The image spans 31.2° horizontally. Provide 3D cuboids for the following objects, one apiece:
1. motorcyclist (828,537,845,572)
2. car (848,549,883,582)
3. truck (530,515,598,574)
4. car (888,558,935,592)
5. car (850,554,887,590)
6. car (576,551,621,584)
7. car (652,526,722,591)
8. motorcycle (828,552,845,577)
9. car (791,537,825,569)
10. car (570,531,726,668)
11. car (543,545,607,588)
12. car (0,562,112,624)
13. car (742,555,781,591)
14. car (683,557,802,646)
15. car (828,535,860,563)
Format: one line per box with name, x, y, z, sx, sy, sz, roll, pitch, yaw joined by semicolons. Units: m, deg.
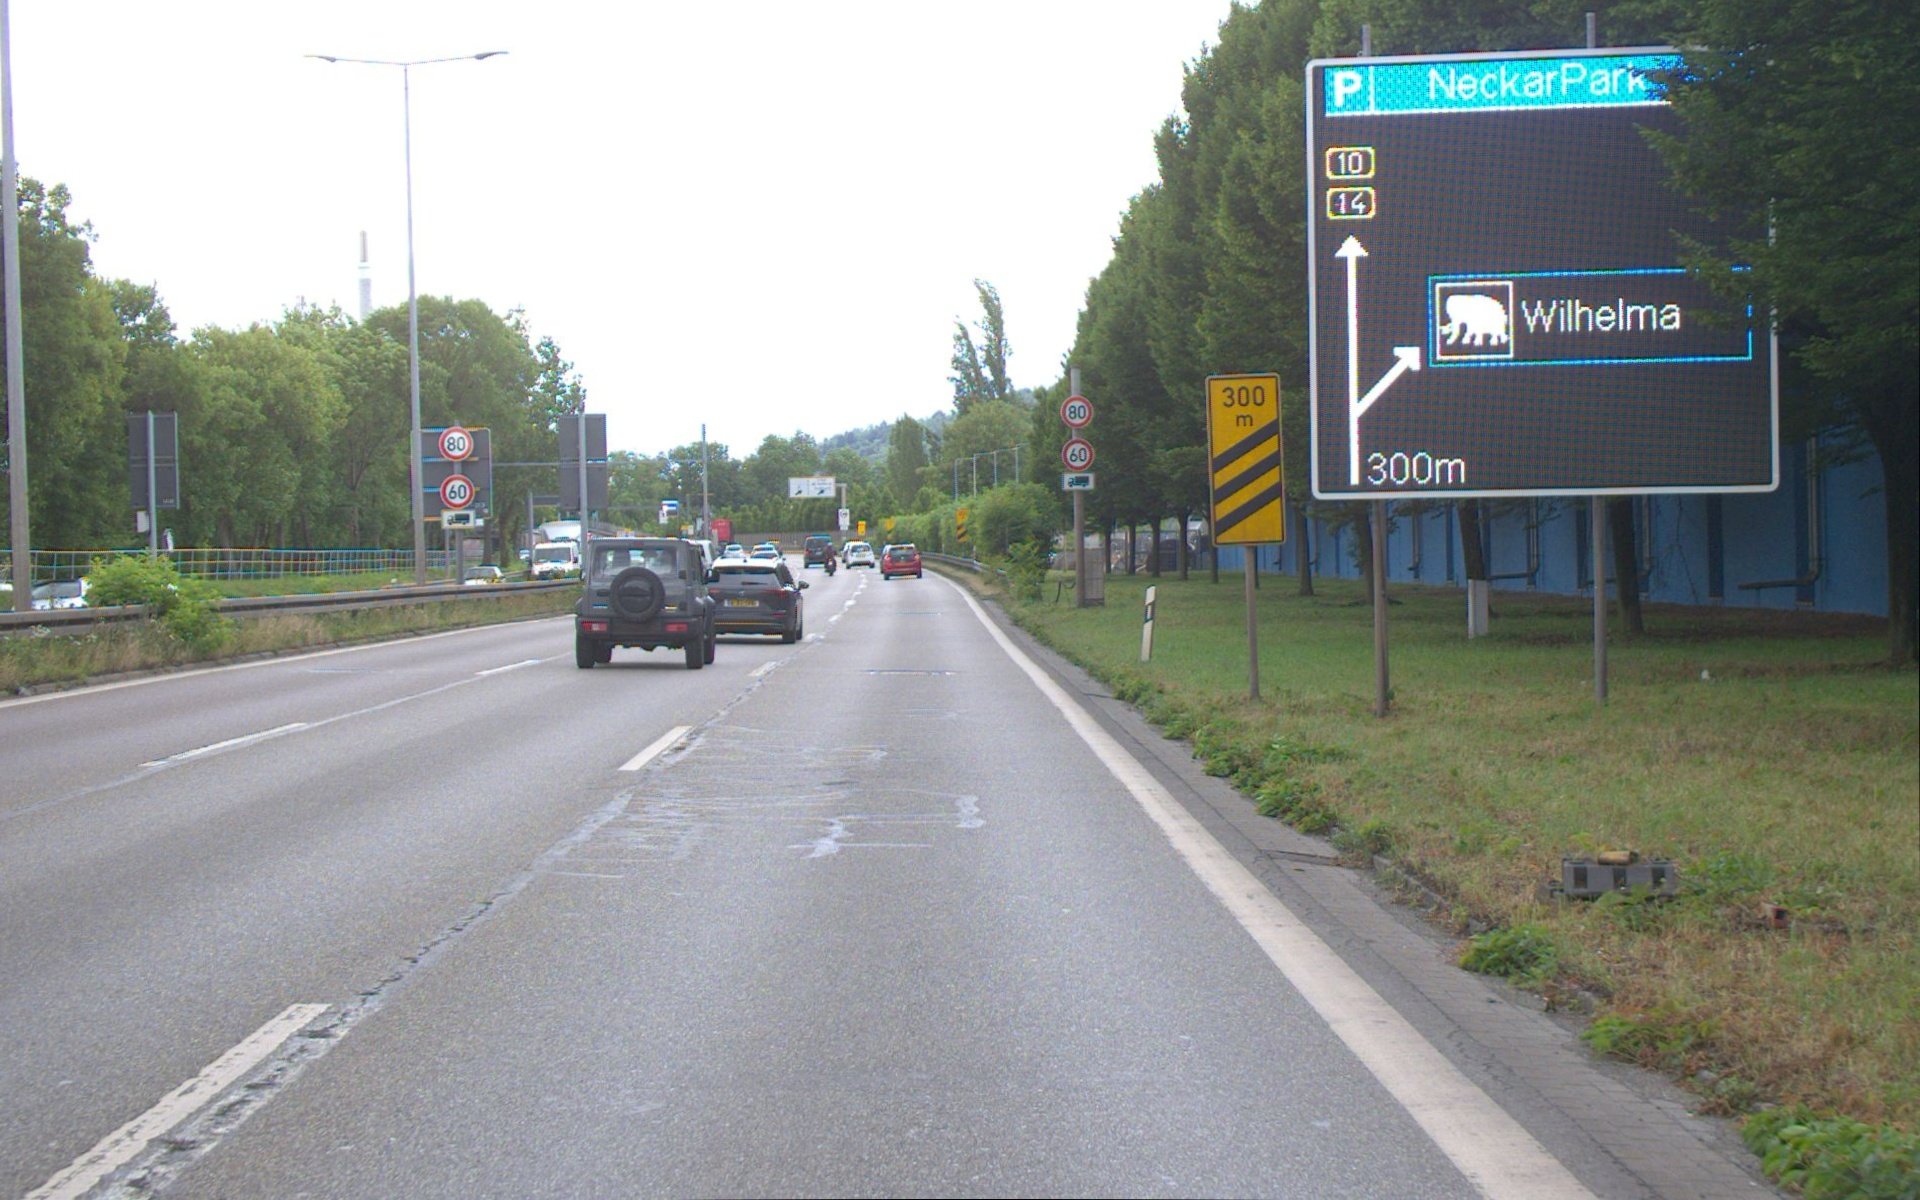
motorcyclist;-6.222;-2.290;172.935;0.791;1.754;0.923;0;1;0
car;-5.716;-2.076;207.226;2.013;1.927;4.901;-2;1;-2
truck;-25.162;-3.550;218.745;2.889;3.566;9.587;-2;1;1
car;-2.171;-1.138;152.957;1.974;1.418;4.901;-2;1;-2
car;-4.641;-1.435;174.931;1.697;1.736;4.393;-1;1;1
car;-19.598;-1.773;186.583;1.878;1.719;4.146;0;1;2
car;-7.566;-1.172;95.630;1.697;1.736;4.000;2;1;-2
motorcycle;-6.219;-1.798;172.955;0.791;1.215;2.330;0;1;-1
car;-9.827;-3.039;222.499;2.013;1.927;4.901;-2;1;-2
car;-4.081;-0.044;45.442;1.697;1.680;4.000;2;1;-1
car;-18.145;-1.572;162.391;2.226;1.941;5.474;-1;1;2
car;-23.065;-0.207;87.648;1.878;1.484;4.202;0;1;-1
car;-10.207;-1.393;176.954;1.697;1.736;4.393;-2;1;0
car;-3.725;-0.004;59.527;1.845;1.418;4.901;-2;1;-2
car;-8.260;-3.620;245.643;2.013;1.927;4.900;-2;1;0
